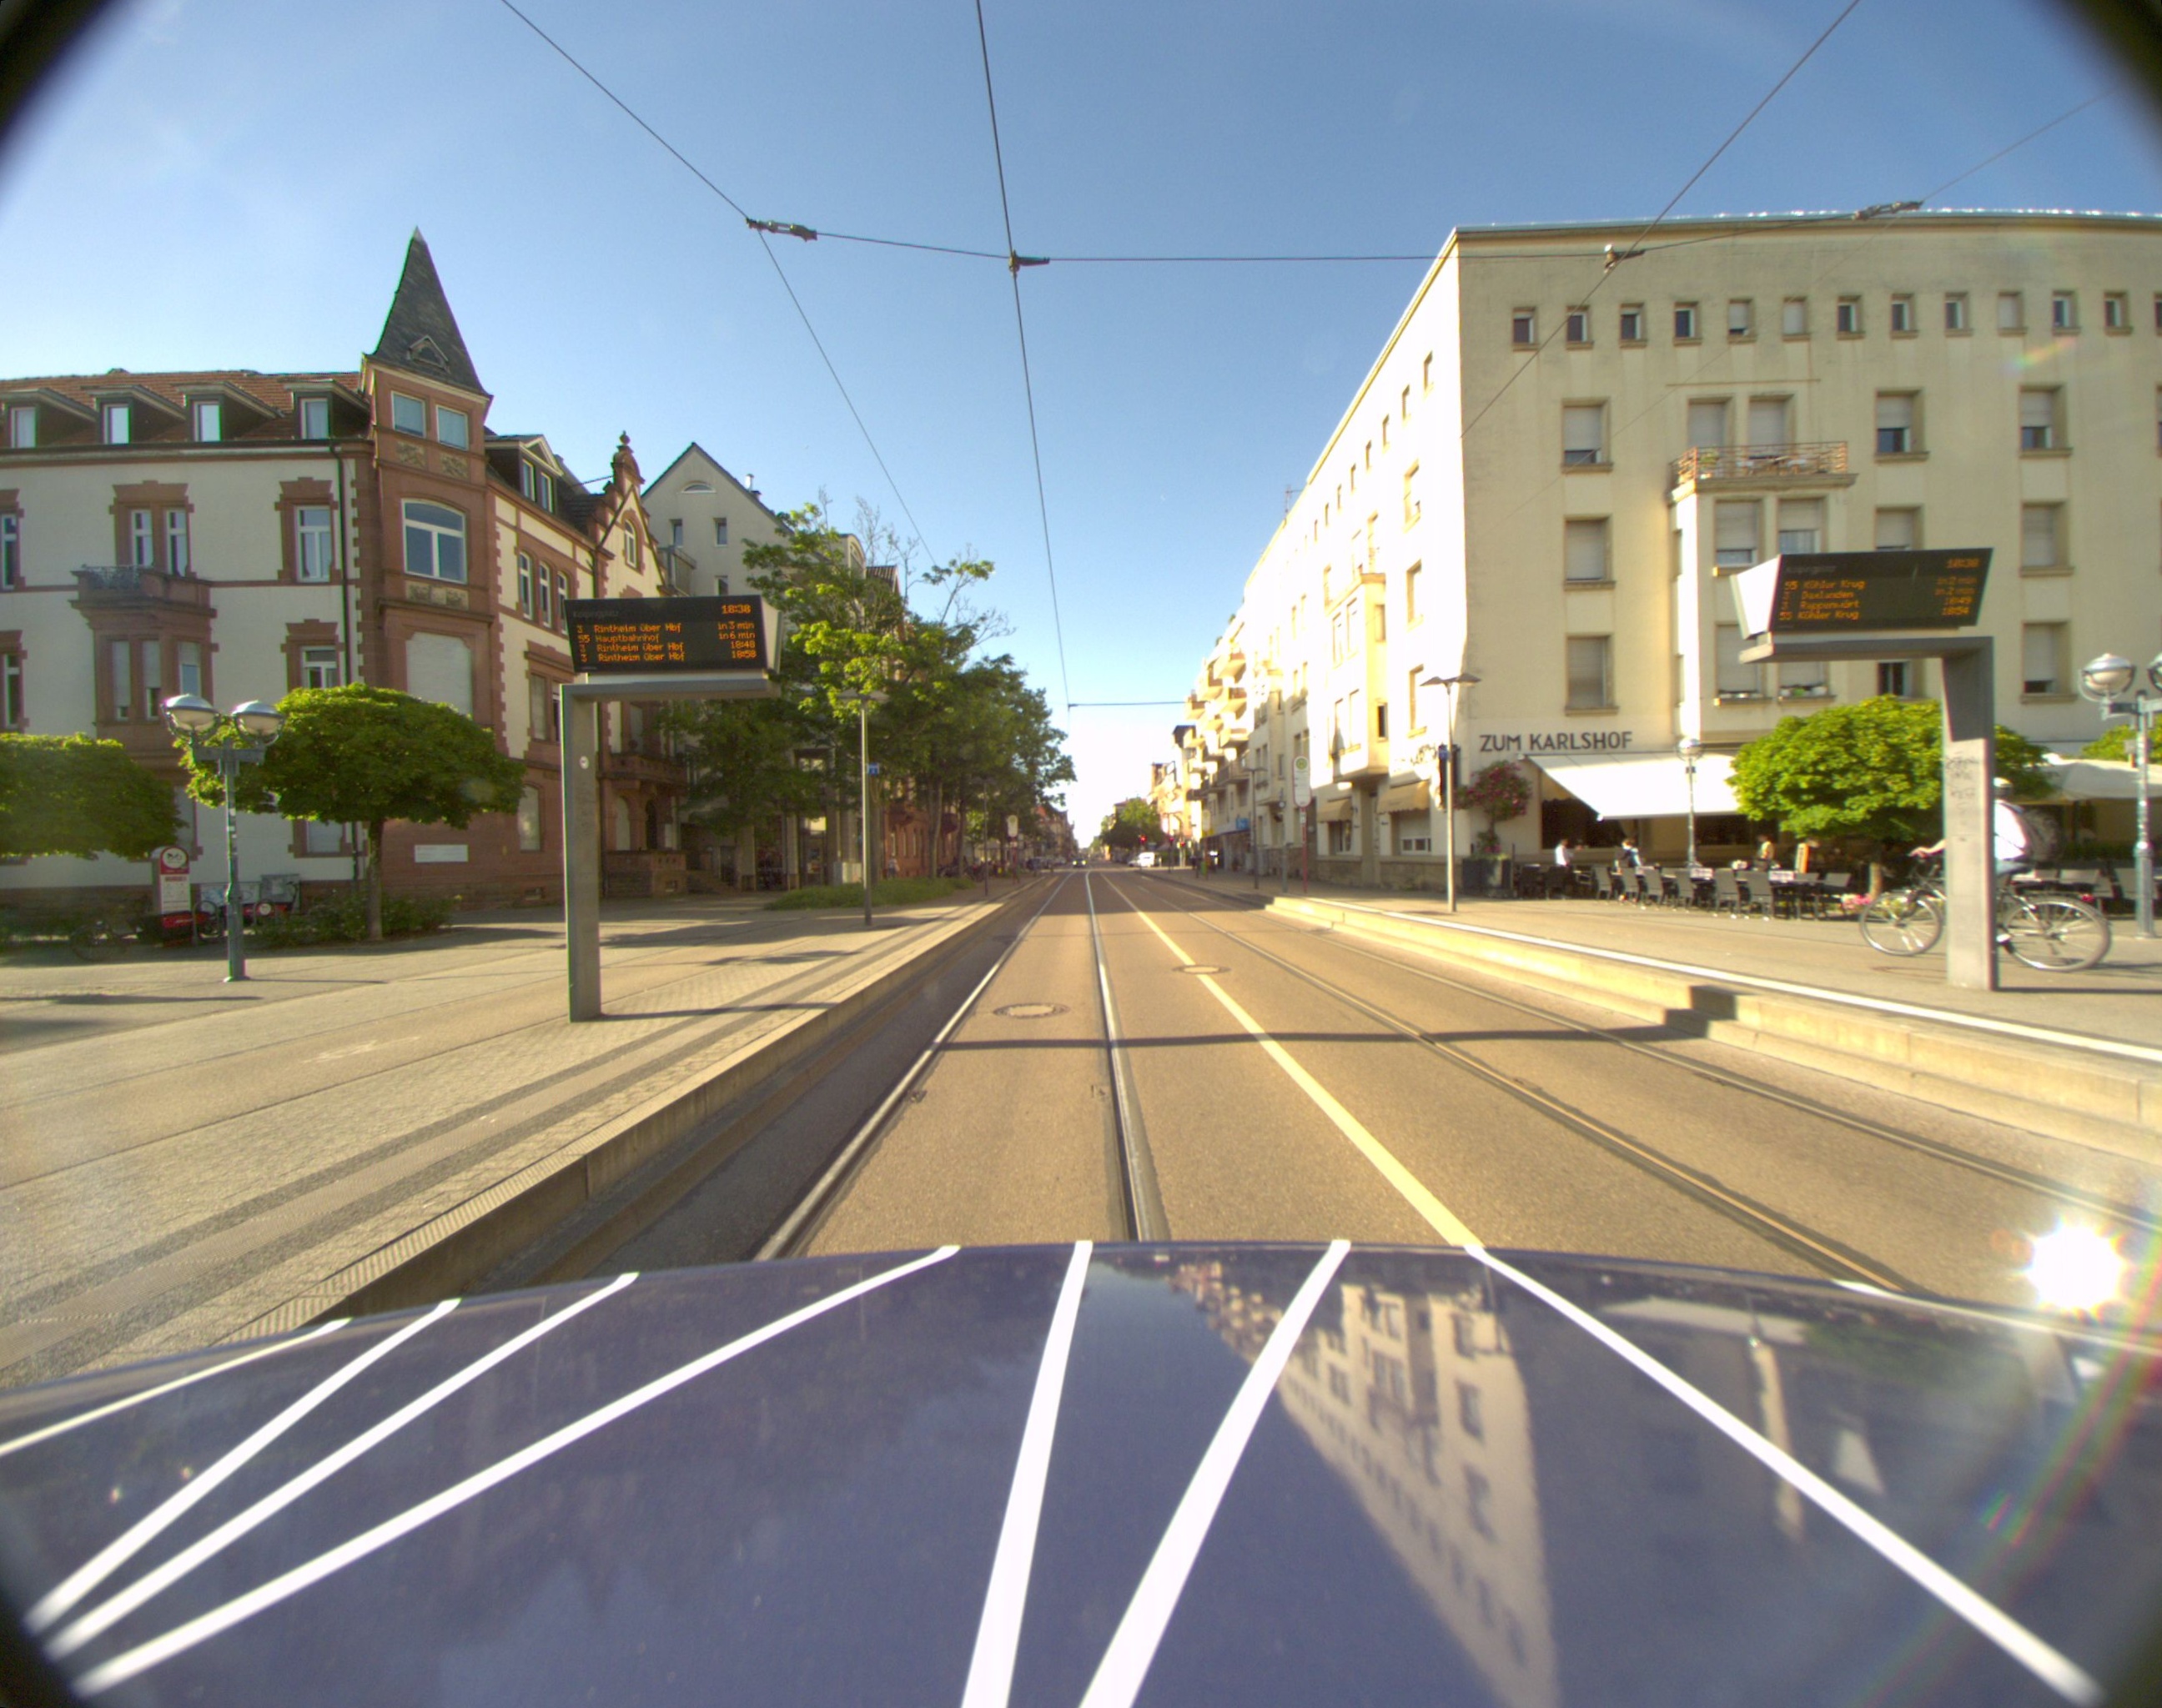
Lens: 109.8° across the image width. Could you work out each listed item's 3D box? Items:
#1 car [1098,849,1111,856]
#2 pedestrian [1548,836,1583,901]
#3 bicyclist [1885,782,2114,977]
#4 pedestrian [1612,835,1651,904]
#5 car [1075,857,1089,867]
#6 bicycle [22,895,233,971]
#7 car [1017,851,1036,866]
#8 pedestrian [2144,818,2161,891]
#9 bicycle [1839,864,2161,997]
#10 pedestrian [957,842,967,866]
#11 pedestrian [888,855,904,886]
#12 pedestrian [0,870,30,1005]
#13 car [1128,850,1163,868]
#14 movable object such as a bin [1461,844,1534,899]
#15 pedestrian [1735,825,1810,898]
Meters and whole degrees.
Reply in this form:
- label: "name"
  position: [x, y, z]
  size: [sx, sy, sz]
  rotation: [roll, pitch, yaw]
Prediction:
- label: "car"
  position: [7.053, -0.551, 230.894]
  size: [3.996, 2.002, 2.000]
  rotation: [-1, 1, 1]
- label: "pedestrian"
  position: [12.603, 0.385, 19.767]
  size: [0.672, 1.634, 0.752]
  rotation: [-1, -2, 27]
- label: "bicyclist"
  position: [9.125, 0.231, 7.606]
  size: [1.007, 1.783, 1.094]
  rotation: [-2, 1, -8]
- label: "pedestrian"
  position: [13.377, 0.387, 18.483]
  size: [0.672, 1.634, 0.678]
  rotation: [-2, -2, 32]
- label: "car"
  position: [0.146, 1.084, 107.943]
  size: [1.998, 1.318, 3.863]
  rotation: [-1, 0, 1]
- label: "bicycle"
  position: [-18.216, 1.452, 14.678]
  size: [0.790, 1.062, 2.804]
  rotation: [-2, 2, -8]
- label: "car"
  position: [-7.579, 0.656, 106.026]
  size: [1.998, 2.002, 4.001]
  rotation: [-1, 0, 4]
- label: "pedestrian"
  position: [26.945, 0.000, 18.860]
  size: [0.578, 1.813, 0.647]
  rotation: [-2, 1, -36]
- label: "bicycle"
  position: [9.154, 0.685, 7.721]
  size: [0.714, 1.119, 2.034]
  rotation: [-1, 0, -7]
- label: "pedestrian"
  position: [-9.826, -0.015, 62.927]
  size: [0.653, 2.002, 0.559]
  rotation: [-1, 1, 3]
- label: "pedestrian"
  position: [-10.700, 0.954, 44.017]
  size: [0.742, 1.725, 0.877]
  rotation: [-2, 1, -6]
- label: "pedestrian"
  position: [-13.831, 1.051, 9.088]
  size: [1.070, 1.659, 0.956]
  rotation: [-2, 1, -12]
- label: "car"
  position: [8.081, 0.625, 95.527]
  size: [3.989, 2.105, 1.882]
  rotation: [-1, 1, 35]
- label: "movable object such as a bin"
  position: [11.170, 0.451, 20.435]
  size: [1.319, 1.392, 1.128]
  rotation: [-1, 1, -1]
- label: "pedestrian"
  position: [15.976, 0.173, 17.569]
  size: [1.066, 1.635, 0.756]
  rotation: [-1, 1, -4]
